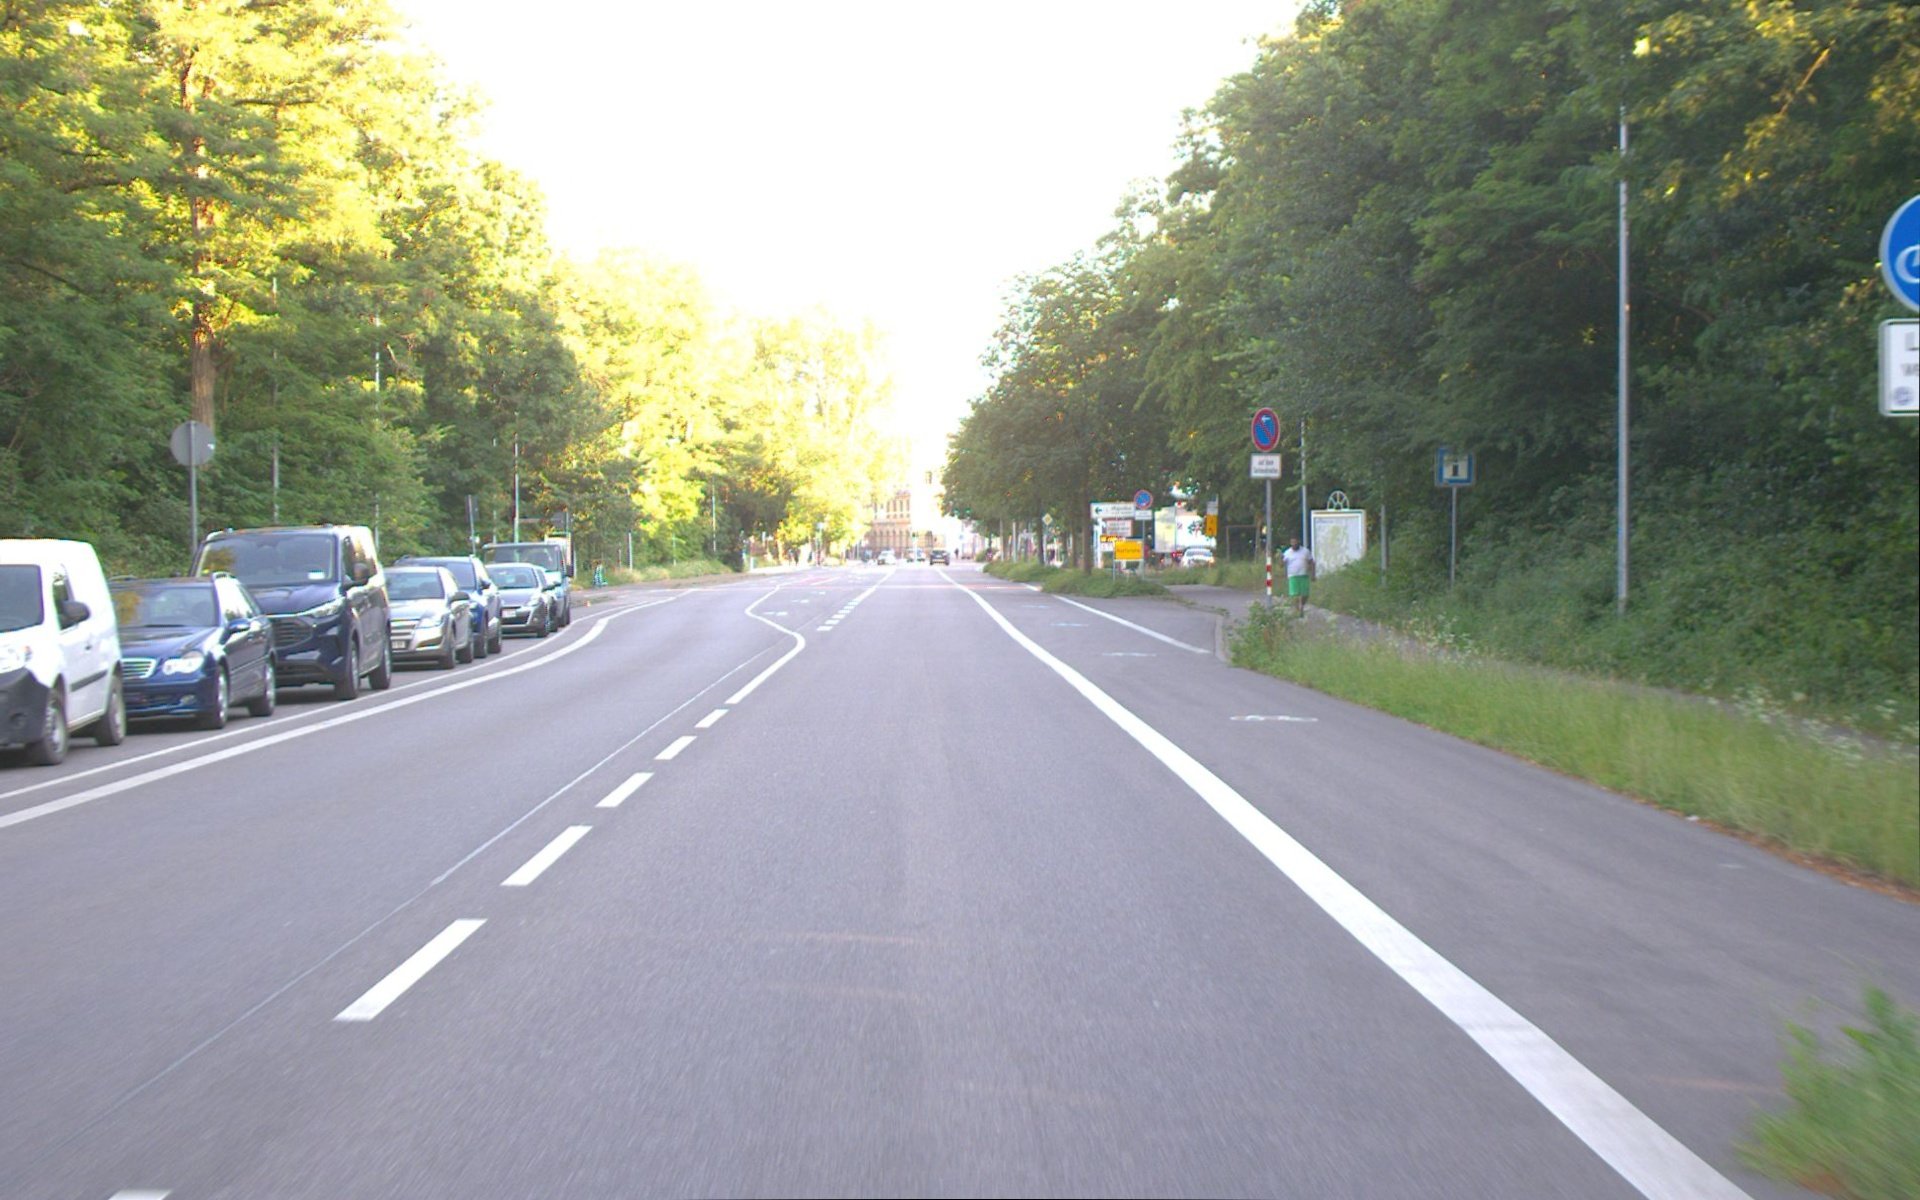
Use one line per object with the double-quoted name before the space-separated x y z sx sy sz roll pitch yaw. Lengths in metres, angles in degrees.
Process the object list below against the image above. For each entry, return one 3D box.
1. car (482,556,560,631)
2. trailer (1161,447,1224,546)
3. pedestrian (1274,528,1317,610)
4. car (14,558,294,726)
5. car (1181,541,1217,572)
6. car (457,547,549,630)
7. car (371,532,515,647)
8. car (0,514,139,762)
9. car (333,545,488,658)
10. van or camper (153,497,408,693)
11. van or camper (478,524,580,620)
"car" -9.293 -0.166 72.999 1.542 1.488 3.973 -2 1 -7
"trailer" 13.059 -5.786 193.421 3.020 5.443 7.934 0 1 0
"pedestrian" 7.145 -0.663 73.227 0.838 1.745 0.726 0 1 0
"car" -7.700 0.353 33.239 1.669 1.428 4.447 -2 1 -1
"car" 12.566 -2.290 180.903 1.770 1.578 4.818 1 1 3
"car" -9.045 -0.248 68.183 1.616 1.529 4.041 -2 1 -6
"car" -8.230 -0.199 55.012 1.745 1.706 4.523 -2 1 -2
"car" -7.972 0.291 27.969 1.687 1.852 4.388 -3 1 -3
"car" -7.876 -0.007 49.600 1.668 1.496 4.247 -2 1 -2
"van or camper" -7.757 -0.099 39.754 2.002 2.011 5.462 -3 1 -3
"van or camper" -9.989 -0.674 80.000 2.031 2.087 5.015 -2 1 -4
